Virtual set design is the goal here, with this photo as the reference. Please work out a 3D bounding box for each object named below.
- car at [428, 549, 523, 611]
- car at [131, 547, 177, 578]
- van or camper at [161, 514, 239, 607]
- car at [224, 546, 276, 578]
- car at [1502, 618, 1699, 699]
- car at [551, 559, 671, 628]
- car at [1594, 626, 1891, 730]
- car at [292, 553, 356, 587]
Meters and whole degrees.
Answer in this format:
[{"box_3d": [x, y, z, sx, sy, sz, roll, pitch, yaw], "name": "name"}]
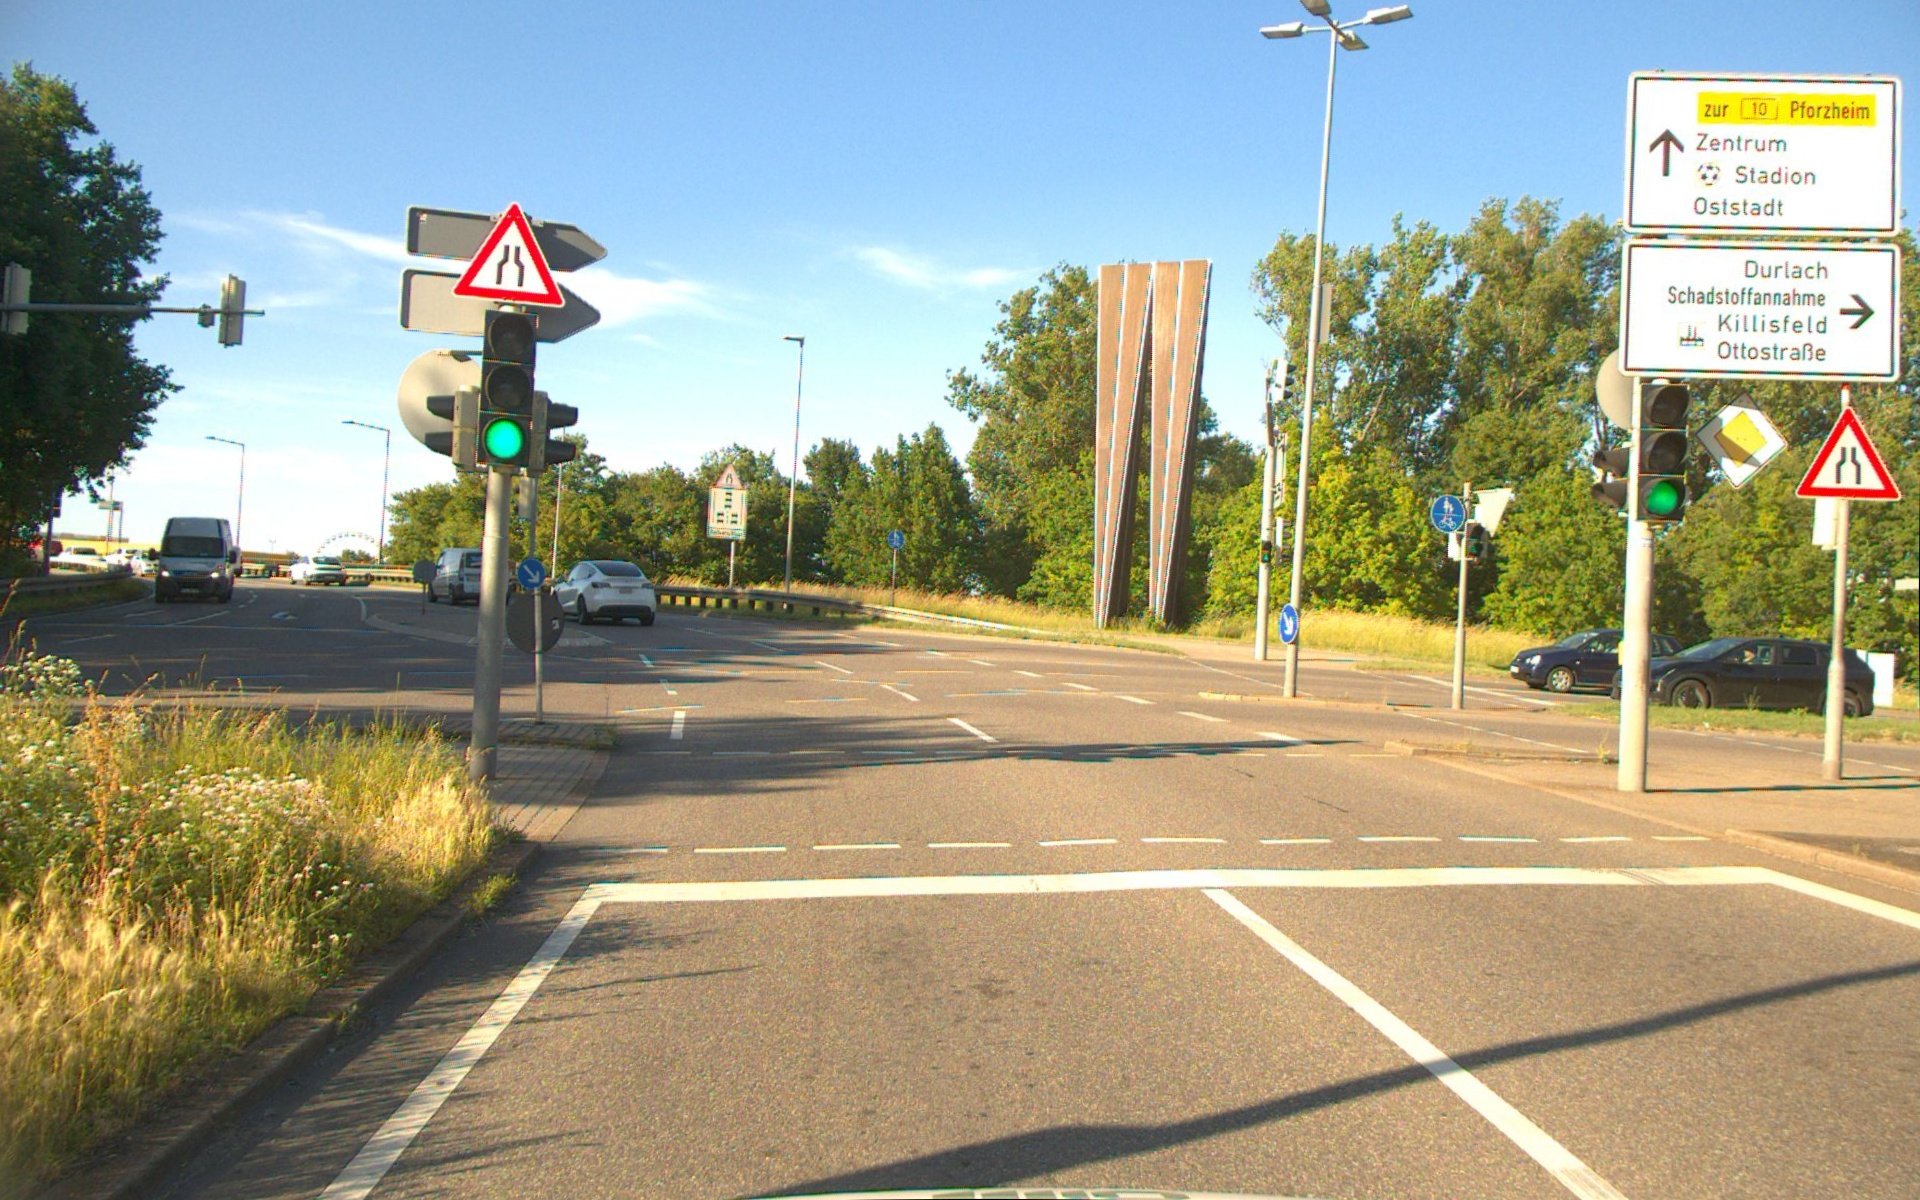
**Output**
[{"box_3d": [-16.426, -0.702, 55.956, 1.974, 1.912, 4.203, 3, 0, -32], "name": "car"}, {"box_3d": [-42.960, -2.027, 88.115, 1.850, 1.500, 3.869, 3, 1, -31], "name": "car"}, {"box_3d": [-24.102, -1.263, 52.651, 2.022, 2.720, 6.884, 1, 1, -23], "name": "van or camper"}, {"box_3d": [-41.736, -2.233, 97.198, 1.953, 1.728, 3.951, 3, 1, -36], "name": "car"}, {"box_3d": [14.283, 1.299, 37.018, 3.670, 1.427, 1.694, 4, 2, -1], "name": "car"}, {"box_3d": [-9.302, -0.202, 43.853, 1.972, 1.668, 4.088, 3, 0, -29], "name": "car"}, {"box_3d": [14.023, 1.369, 29.805, 4.369, 1.489, 1.999, 4, 0, -2], "name": "car"}, {"box_3d": [-31.034, -1.487, 80.694, 1.952, 1.500, 4.105, 3, 1, -35], "name": "car"}]
